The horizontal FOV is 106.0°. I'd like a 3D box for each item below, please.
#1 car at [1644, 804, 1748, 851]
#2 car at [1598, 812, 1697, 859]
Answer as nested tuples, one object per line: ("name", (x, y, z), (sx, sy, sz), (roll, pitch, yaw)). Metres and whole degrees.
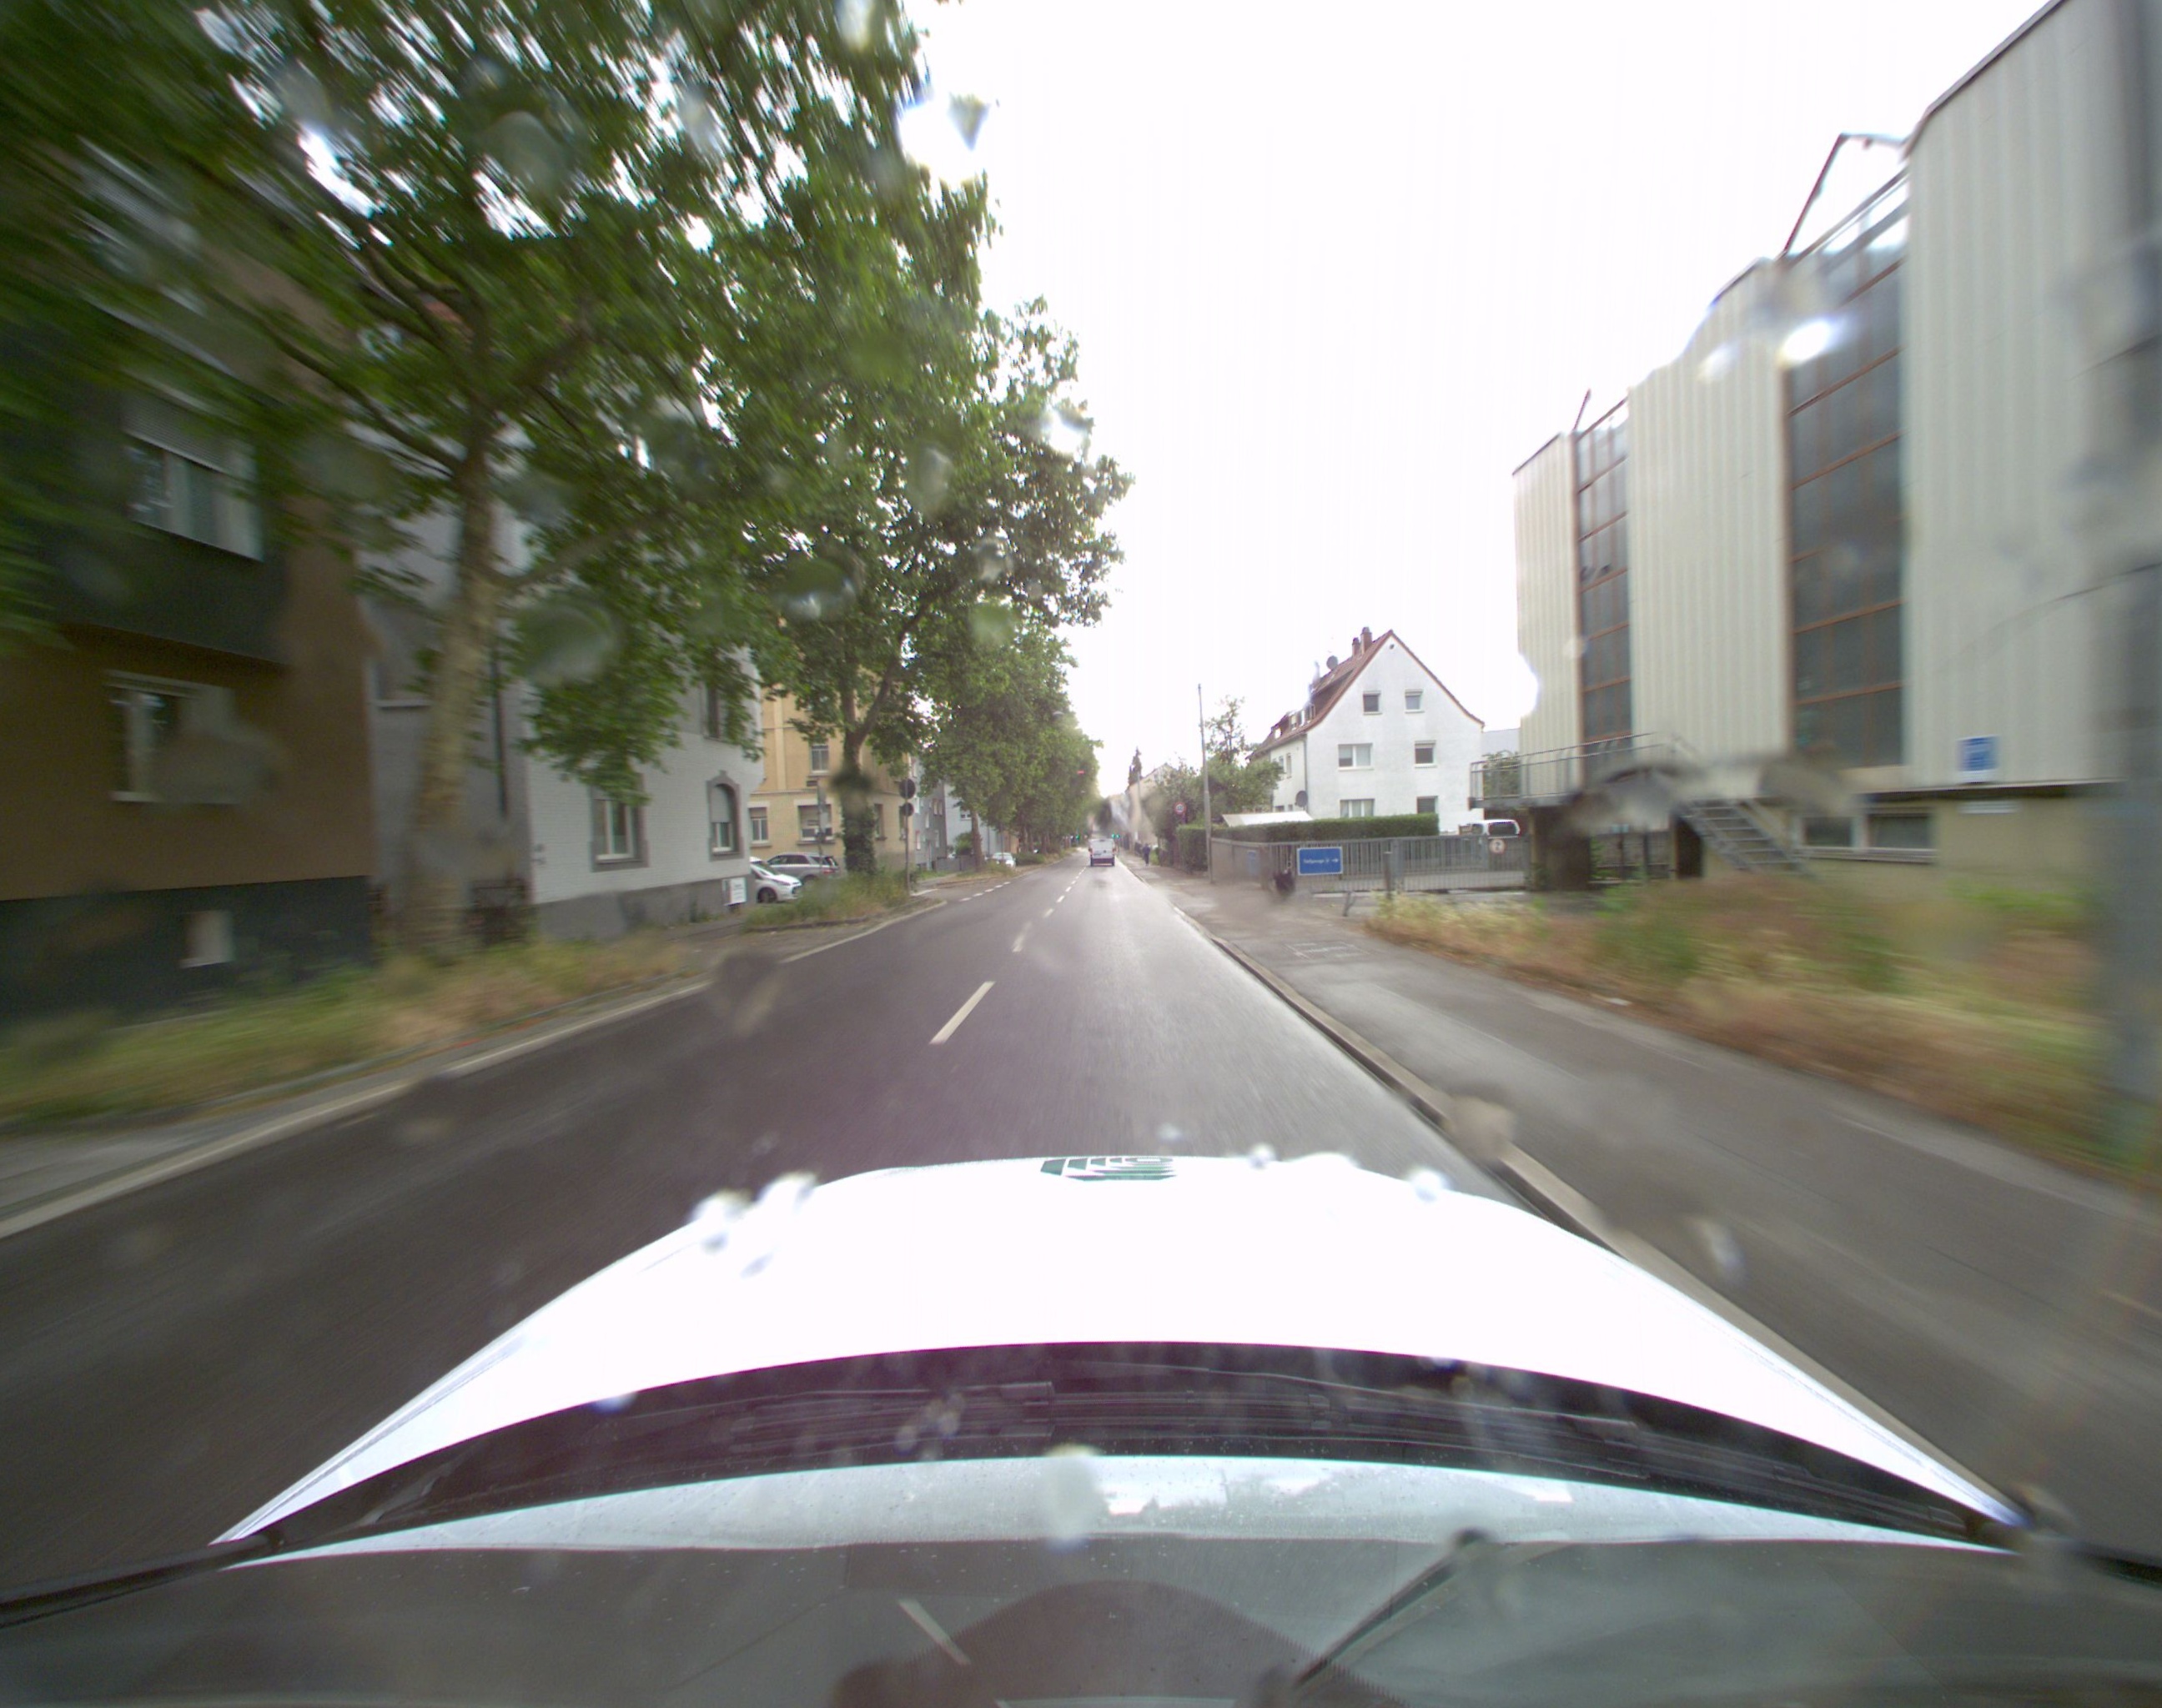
("car", (28.384, -1.162, 37.759), (1.855, 2.013, 4.001), (-2, 0, 1))
("car", (26.096, -0.822, 37.691), (1.855, 2.013, 4.001), (-2, 0, 1))
